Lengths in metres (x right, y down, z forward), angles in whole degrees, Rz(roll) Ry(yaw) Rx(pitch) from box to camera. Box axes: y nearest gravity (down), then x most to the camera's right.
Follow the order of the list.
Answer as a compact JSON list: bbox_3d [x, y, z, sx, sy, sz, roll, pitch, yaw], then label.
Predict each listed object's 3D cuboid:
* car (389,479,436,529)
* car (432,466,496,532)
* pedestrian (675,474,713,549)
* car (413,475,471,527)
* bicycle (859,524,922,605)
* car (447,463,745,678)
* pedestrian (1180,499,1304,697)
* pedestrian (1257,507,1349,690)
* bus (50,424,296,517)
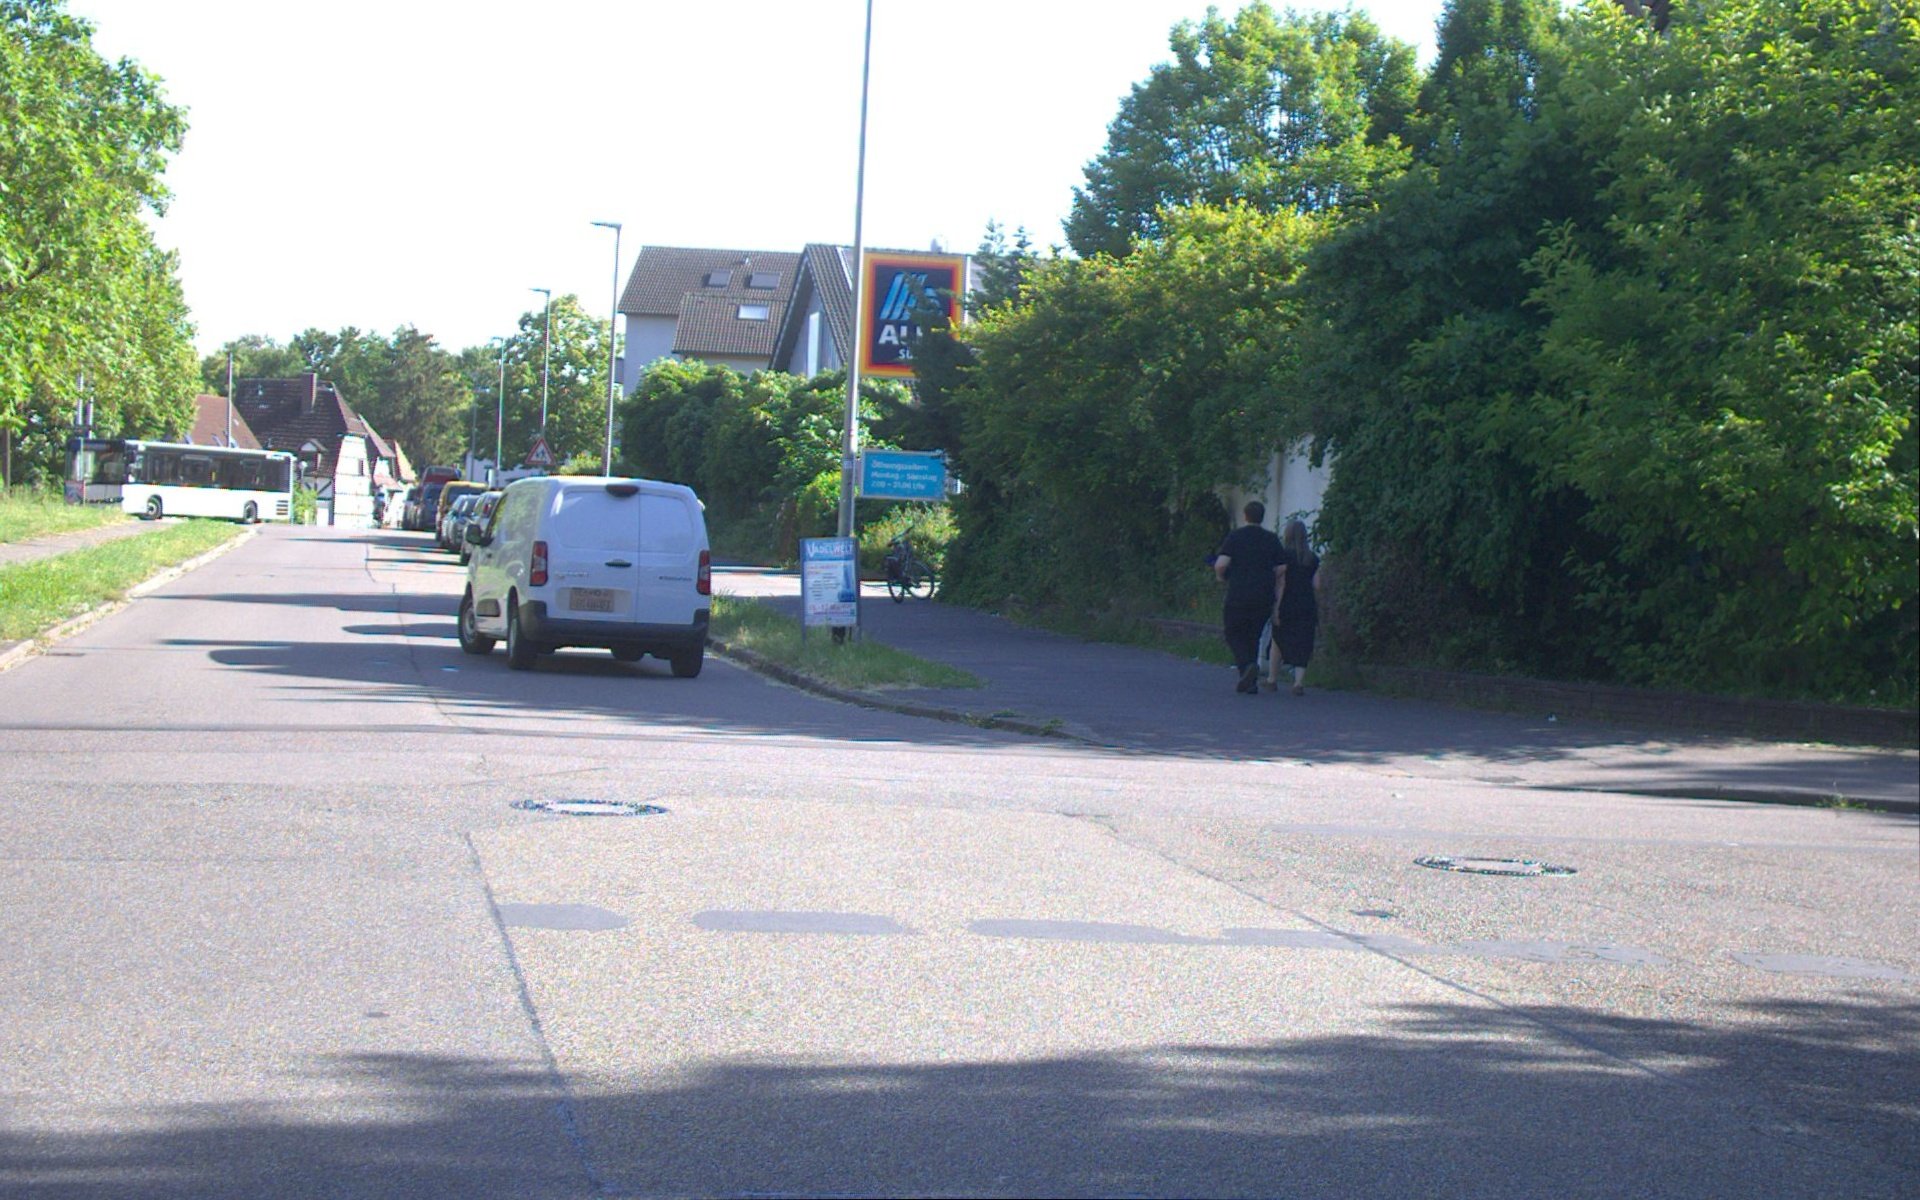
[{"bbox_3d":[-24.547,-4.286,154.060,1.803,2.061,4.001,5,0,-11],"label":"car"},{"bbox_3d":[-14.744,-2.986,102.103,1.724,1.831,4.001,3,1,-9],"label":"car"},{"bbox_3d":[-6.439,-2.144,83.134,0.798,1.775,0.809,3,2,-2],"label":"pedestrian"},{"bbox_3d":[-19.374,-3.680,128.475,1.803,1.779,4.001,5,0,-11],"label":"car"},{"bbox_3d":[-1.069,-0.548,53.205,0.720,1.216,1.895,1,1,6],"label":"bicycle"},{"bbox_3d":[-3.597,-0.337,33.274,1.993,1.875,4.290,2,1,-17],"label":"car"},{"bbox_3d":[2.482,-0.020,30.386,0.803,1.711,0.984,1,0,-13],"label":"pedestrian"},{"bbox_3d":[3.063,-0.015,30.737,0.573,1.604,0.793,1,0,-13],"label":"pedestrian"},{"bbox_3d":[-27.281,-4.453,119.814,3.041,2.814,10.581,3,2,20],"label":"bus"}]
